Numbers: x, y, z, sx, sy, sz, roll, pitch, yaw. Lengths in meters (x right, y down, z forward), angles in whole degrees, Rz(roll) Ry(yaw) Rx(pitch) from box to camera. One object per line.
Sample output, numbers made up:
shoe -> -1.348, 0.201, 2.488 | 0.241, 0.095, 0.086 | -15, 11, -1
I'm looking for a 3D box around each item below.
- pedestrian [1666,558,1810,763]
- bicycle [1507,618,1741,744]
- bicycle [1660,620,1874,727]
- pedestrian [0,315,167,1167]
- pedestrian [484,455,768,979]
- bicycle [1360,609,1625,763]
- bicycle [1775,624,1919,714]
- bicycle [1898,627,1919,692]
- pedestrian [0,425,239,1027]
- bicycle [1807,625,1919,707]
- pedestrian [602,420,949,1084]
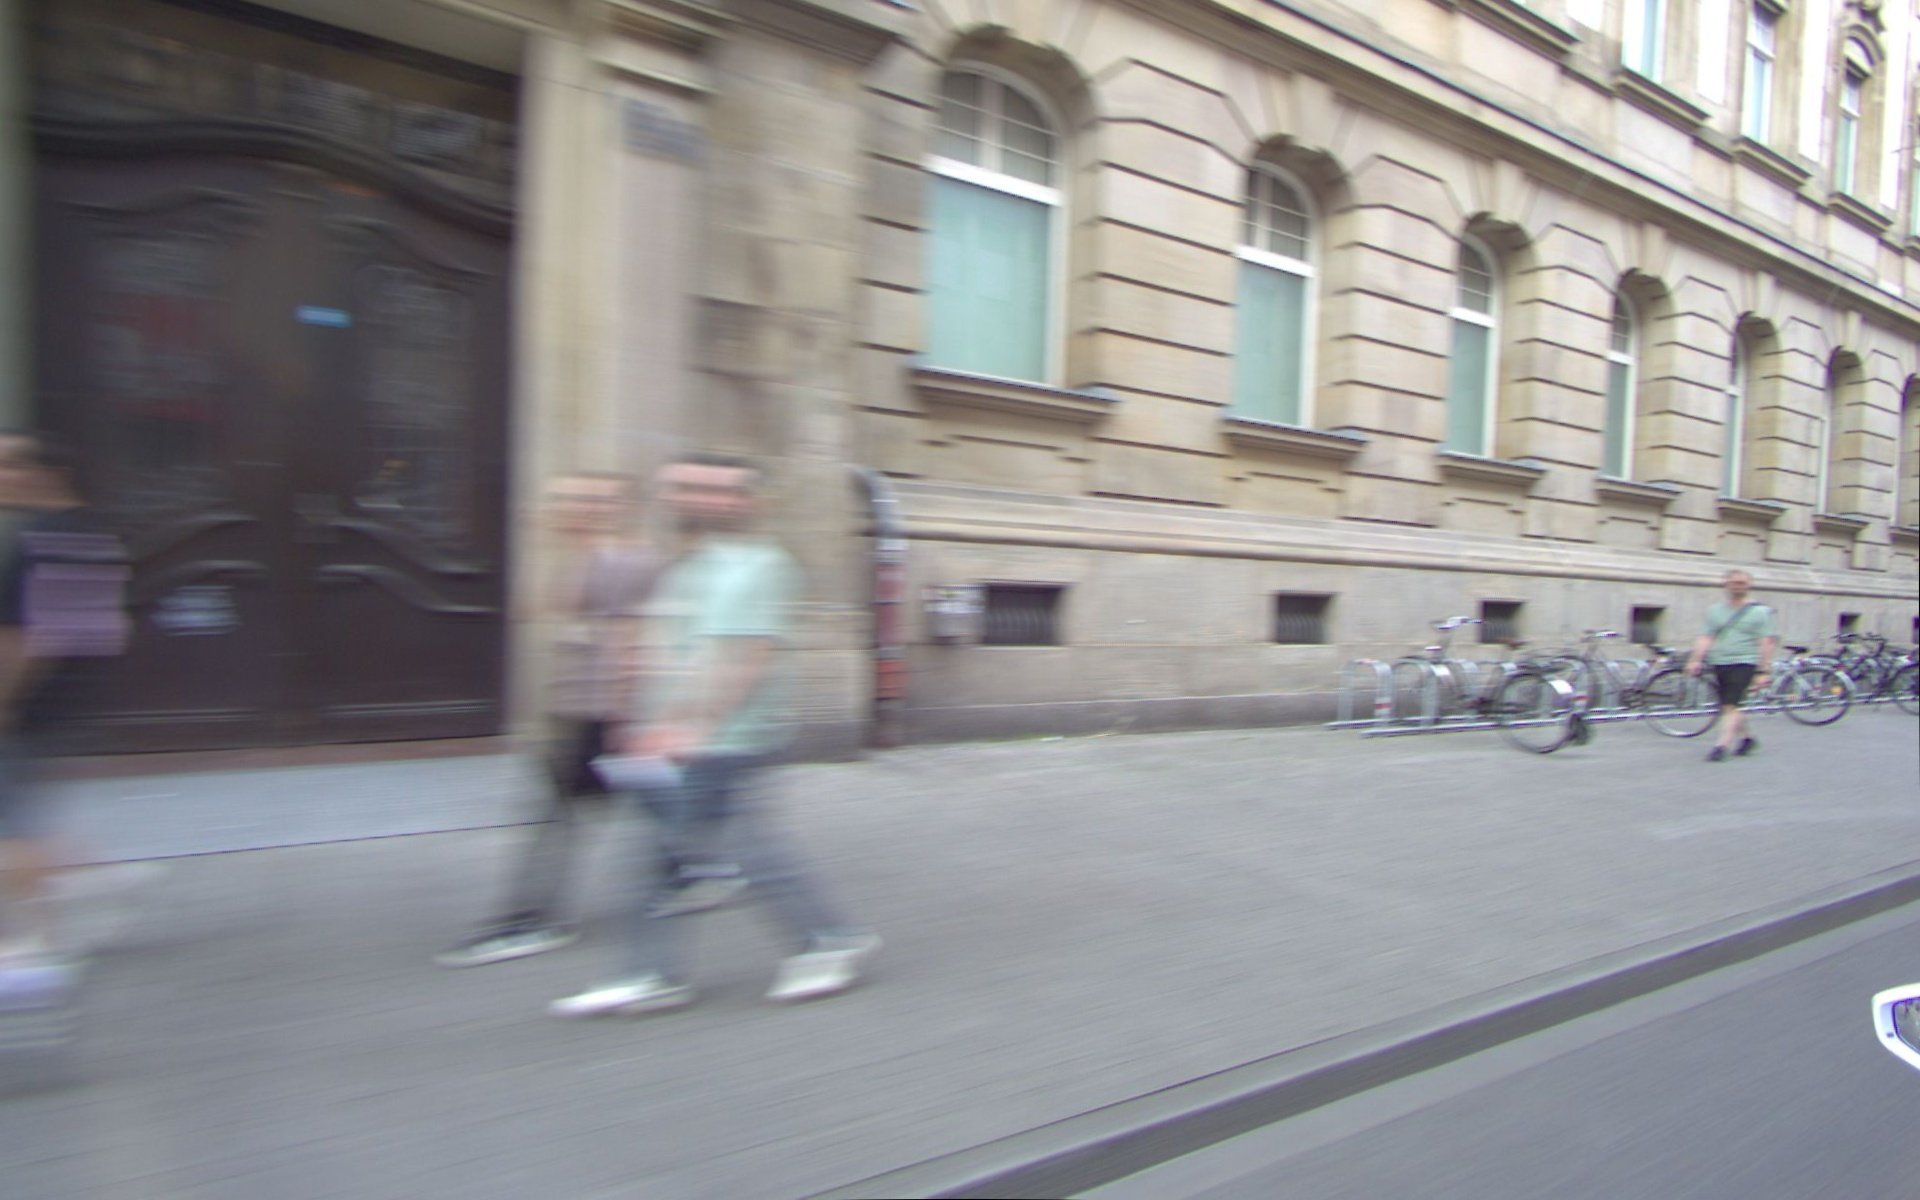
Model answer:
pedestrian -> 7.247, 0.530, 9.370 | 0.791, 1.804, 0.714 | 1, 3, -30
bicycle -> 7.192, 0.826, 10.952 | 1.995, 1.093, 0.726 | 5, 3, 41
bicycle -> 10.130, 0.882, 12.688 | 0.722, 1.093, 1.925 | 2, 3, -33
pedestrian -> -2.508, 0.289, 2.351 | 0.858, 1.855, 0.714 | 2, 4, -23
pedestrian -> -1.265, 0.366, 3.726 | 0.847, 1.690, 0.726 | 1, 4, -28
bicycle -> 4.858, 0.728, 9.314 | 0.723, 1.124, 2.004 | 2, 3, -36
bicycle -> 13.086, 0.981, 14.462 | 0.723, 1.093, 1.923 | 2, 3, -37
bicycle -> 17.184, 1.087, 16.875 | 0.723, 1.093, 1.923 | 2, 3, -37
pedestrian -> -2.770, 0.329, 3.087 | 0.738, 1.664, 0.754 | 2, 4, -23
bicycle -> 14.083, 1.004, 15.085 | 0.723, 1.093, 1.923 | 2, 3, -37
pedestrian -> -0.610, 0.396, 3.150 | 0.829, 1.766, 0.722 | 1, 4, -28
